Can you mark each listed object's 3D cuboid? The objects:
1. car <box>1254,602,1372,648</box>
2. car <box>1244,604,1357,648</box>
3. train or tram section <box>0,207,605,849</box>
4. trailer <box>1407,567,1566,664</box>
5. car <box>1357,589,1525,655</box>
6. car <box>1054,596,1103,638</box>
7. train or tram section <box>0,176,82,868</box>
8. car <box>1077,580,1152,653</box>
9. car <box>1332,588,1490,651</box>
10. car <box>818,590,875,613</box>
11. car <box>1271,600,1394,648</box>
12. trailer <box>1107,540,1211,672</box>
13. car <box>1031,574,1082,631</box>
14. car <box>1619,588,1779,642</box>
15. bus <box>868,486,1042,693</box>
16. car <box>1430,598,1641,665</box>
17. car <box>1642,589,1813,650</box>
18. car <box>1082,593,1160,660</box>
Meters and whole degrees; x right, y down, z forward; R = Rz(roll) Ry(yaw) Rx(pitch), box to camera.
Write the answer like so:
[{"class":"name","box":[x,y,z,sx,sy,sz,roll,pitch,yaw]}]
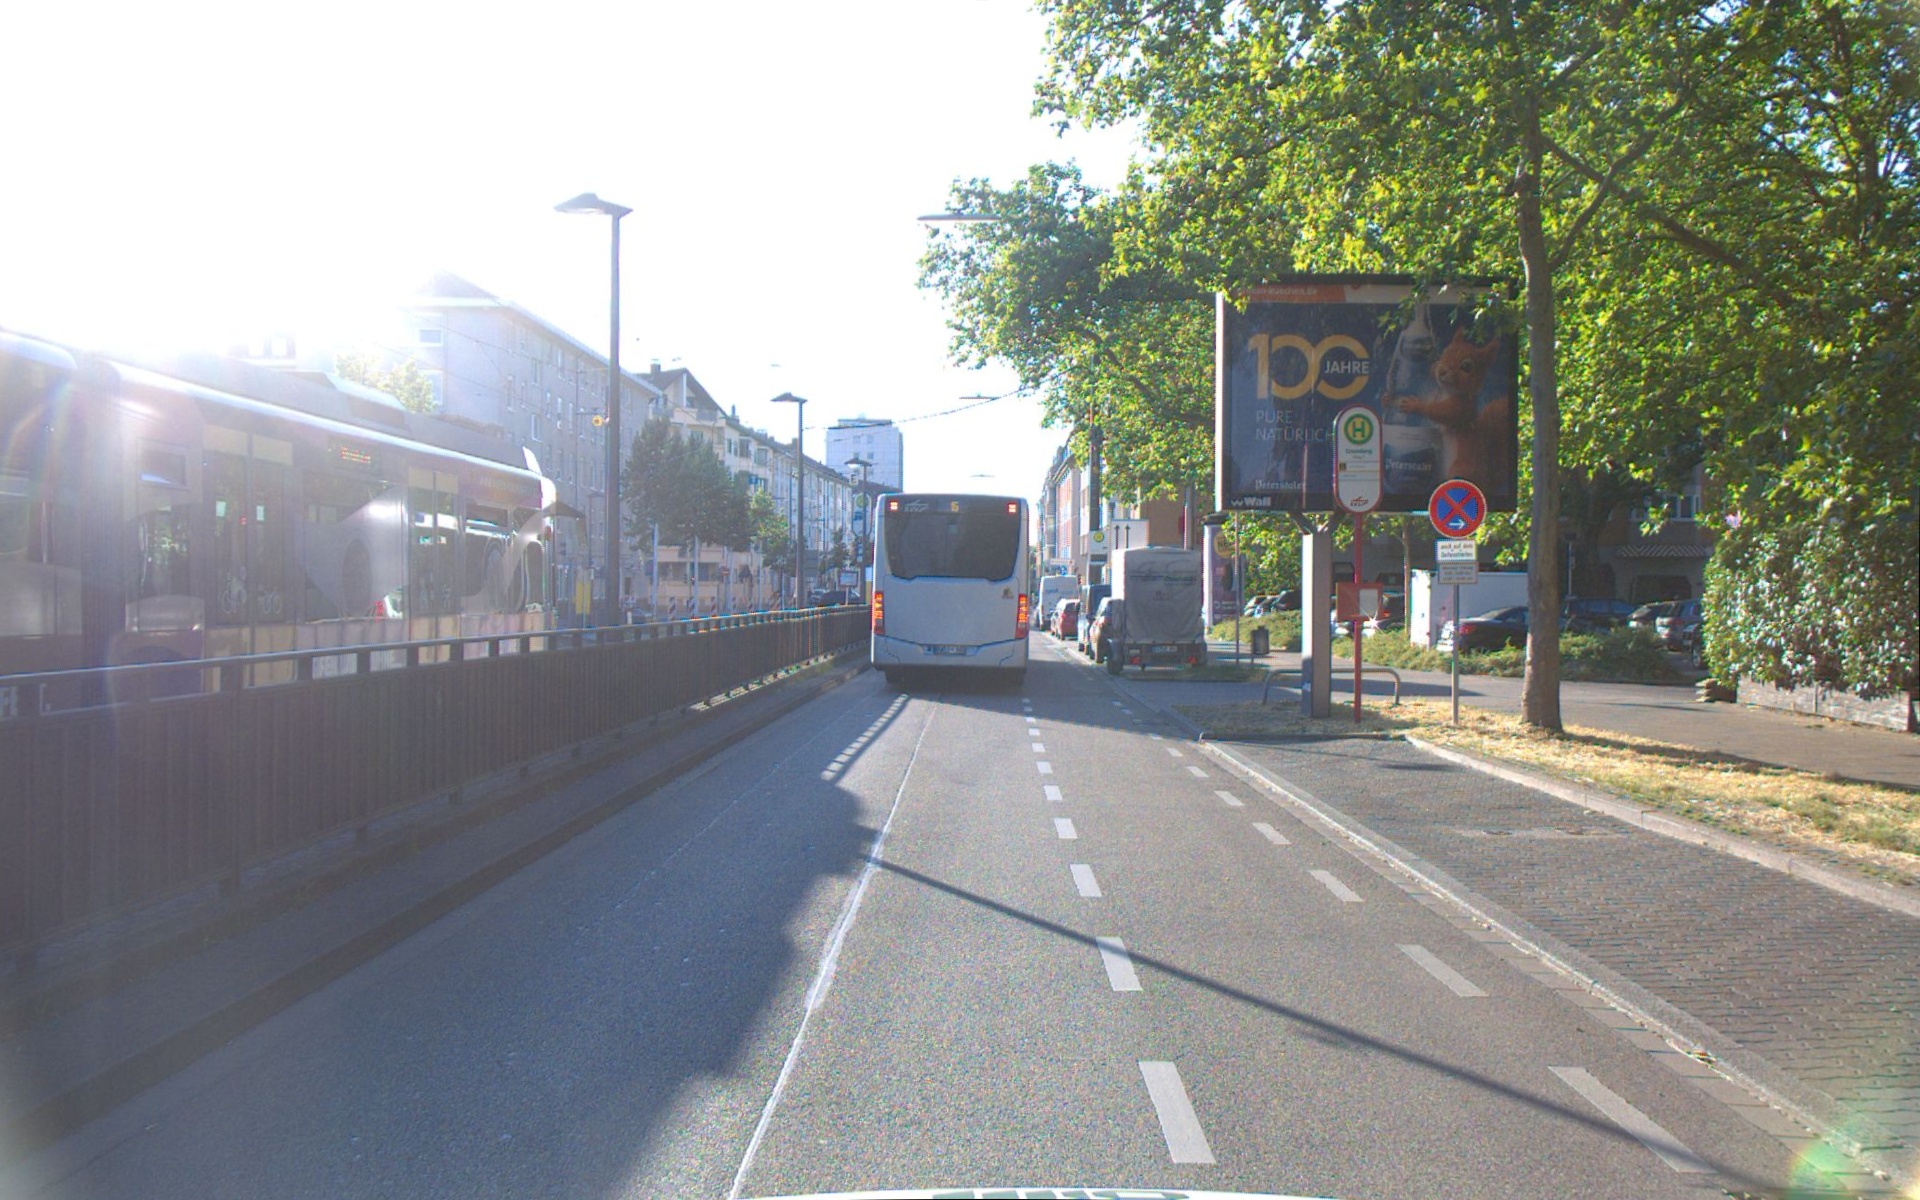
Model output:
[{"class":"car","box":[12.470,0.873,58.545,3.839,1.616,1.706,0,0,1]},{"class":"car","box":[12.519,0.943,60.978,3.839,1.616,1.706,0,0,1]},{"class":"train or tram section","box":[-6.263,-0.423,15.916,2.586,3.581,13.335,0,0,1]},{"class":"trailer","box":[11.795,0.332,37.181,3.000,2.106,1.879,0,0,2]},{"class":"car","box":[12.299,0.556,42.452,3.839,1.665,1.706,0,0,1]},{"class":"car","box":[4.520,0.636,63.636,1.637,1.488,3.934,-2,0,1]},{"class":"train or tram section","box":[-6.451,-0.391,3.024,2.672,3.611,12.786,0,0,1]},{"class":"car","box":[4.399,0.453,47.641,1.809,1.991,4.544,0,0,1]},{"class":"car","box":[12.172,0.517,44.817,3.839,1.666,1.706,0,0,1]},{"class":"car","box":[-8.151,0.125,119.085,4.051,1.646,2.000,0,0,-1]},{"class":"car","box":[12.625,0.809,56.203,3.839,1.616,1.706,0,0,1]},{"class":"trailer","box":[4.091,0.124,34.459,1.795,2.602,3.319,0,0,1]},{"class":"car","box":[4.609,0.124,79.663,2.235,2.673,5.310,0,0,1]},{"class":"car","box":[23.045,0.456,51.664,4.189,1.671,1.873,0,0,1]},{"class":"bus","box":[0.050,-0.193,30.899,2.677,3.194,10.705,0,0,1]},{"class":"car","box":[11.944,0.651,34.489,3.839,1.359,1.707,0,0,2]},{"class":"car","box":[22.805,0.581,49.271,4.189,1.671,1.872,-2,0,1]},{"class":"car","box":[4.026,0.645,41.727,1.665,1.616,3.828,0,0,1]}]
